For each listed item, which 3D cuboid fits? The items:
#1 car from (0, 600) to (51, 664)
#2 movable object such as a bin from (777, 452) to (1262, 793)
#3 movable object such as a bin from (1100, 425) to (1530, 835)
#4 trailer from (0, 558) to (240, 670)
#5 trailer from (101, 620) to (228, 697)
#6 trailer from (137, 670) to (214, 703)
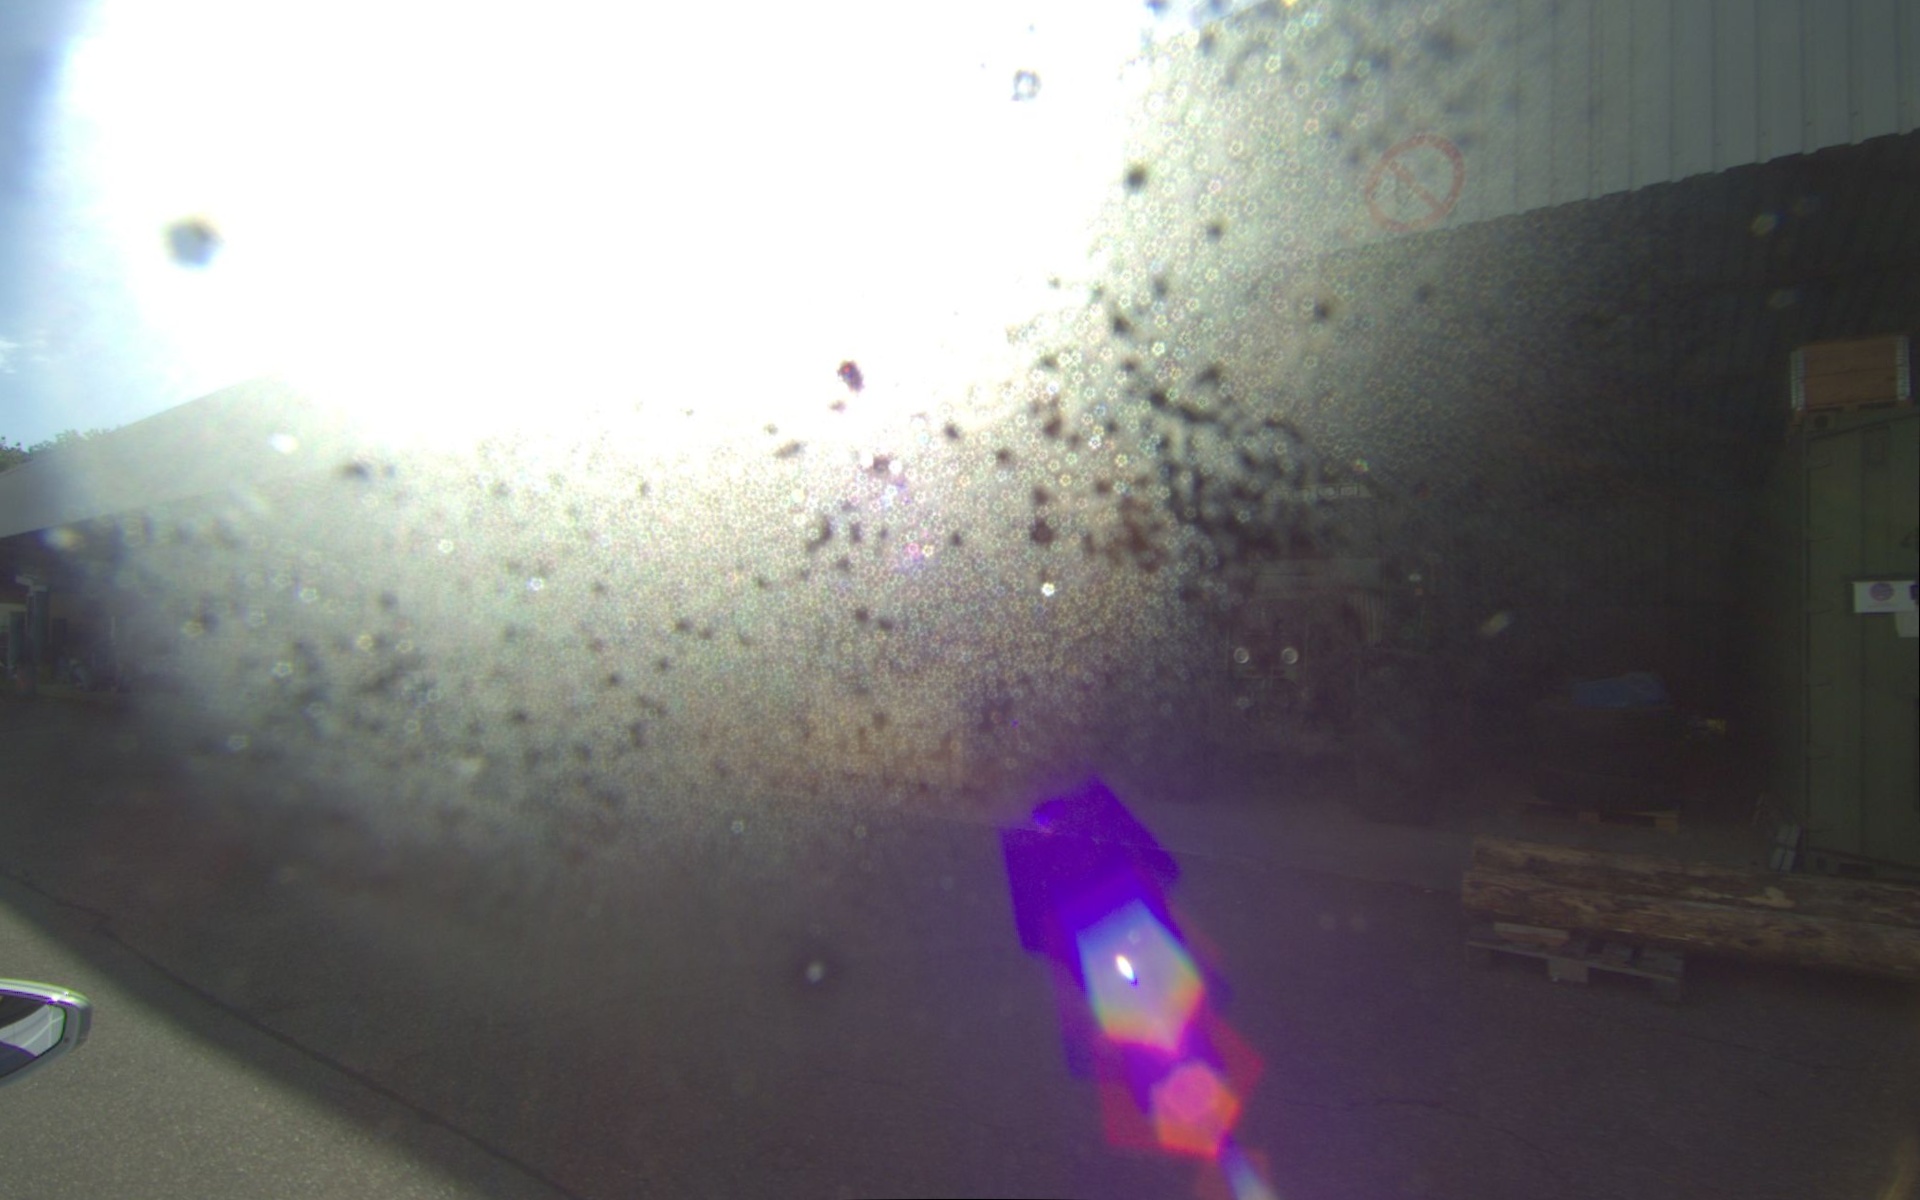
[{"bbox_3d":[-38.321,1.256,39.326,1.974,2.472,3.496,-1,-3,36],"label":"car"},{"bbox_3d":[1.227,0.387,12.239,2.650,2.941,6.919,-1,-3,35],"label":"movable object such as a bin"},{"bbox_3d":[4.138,0.388,10.557,2.650,2.941,6.339,-1,-3,35],"label":"movable object such as a bin"},{"bbox_3d":[-28.696,0.602,33.897,2.787,3.412,6.375,-1,-3,35],"label":"trailer"},{"bbox_3d":[-17.672,1.313,22.267,1.885,1.537,1.545,2,-5,32],"label":"trailer"},{"bbox_3d":[-15.512,1.712,19.814,0.722,0.574,0.970,2,-5,31],"label":"trailer"}]
